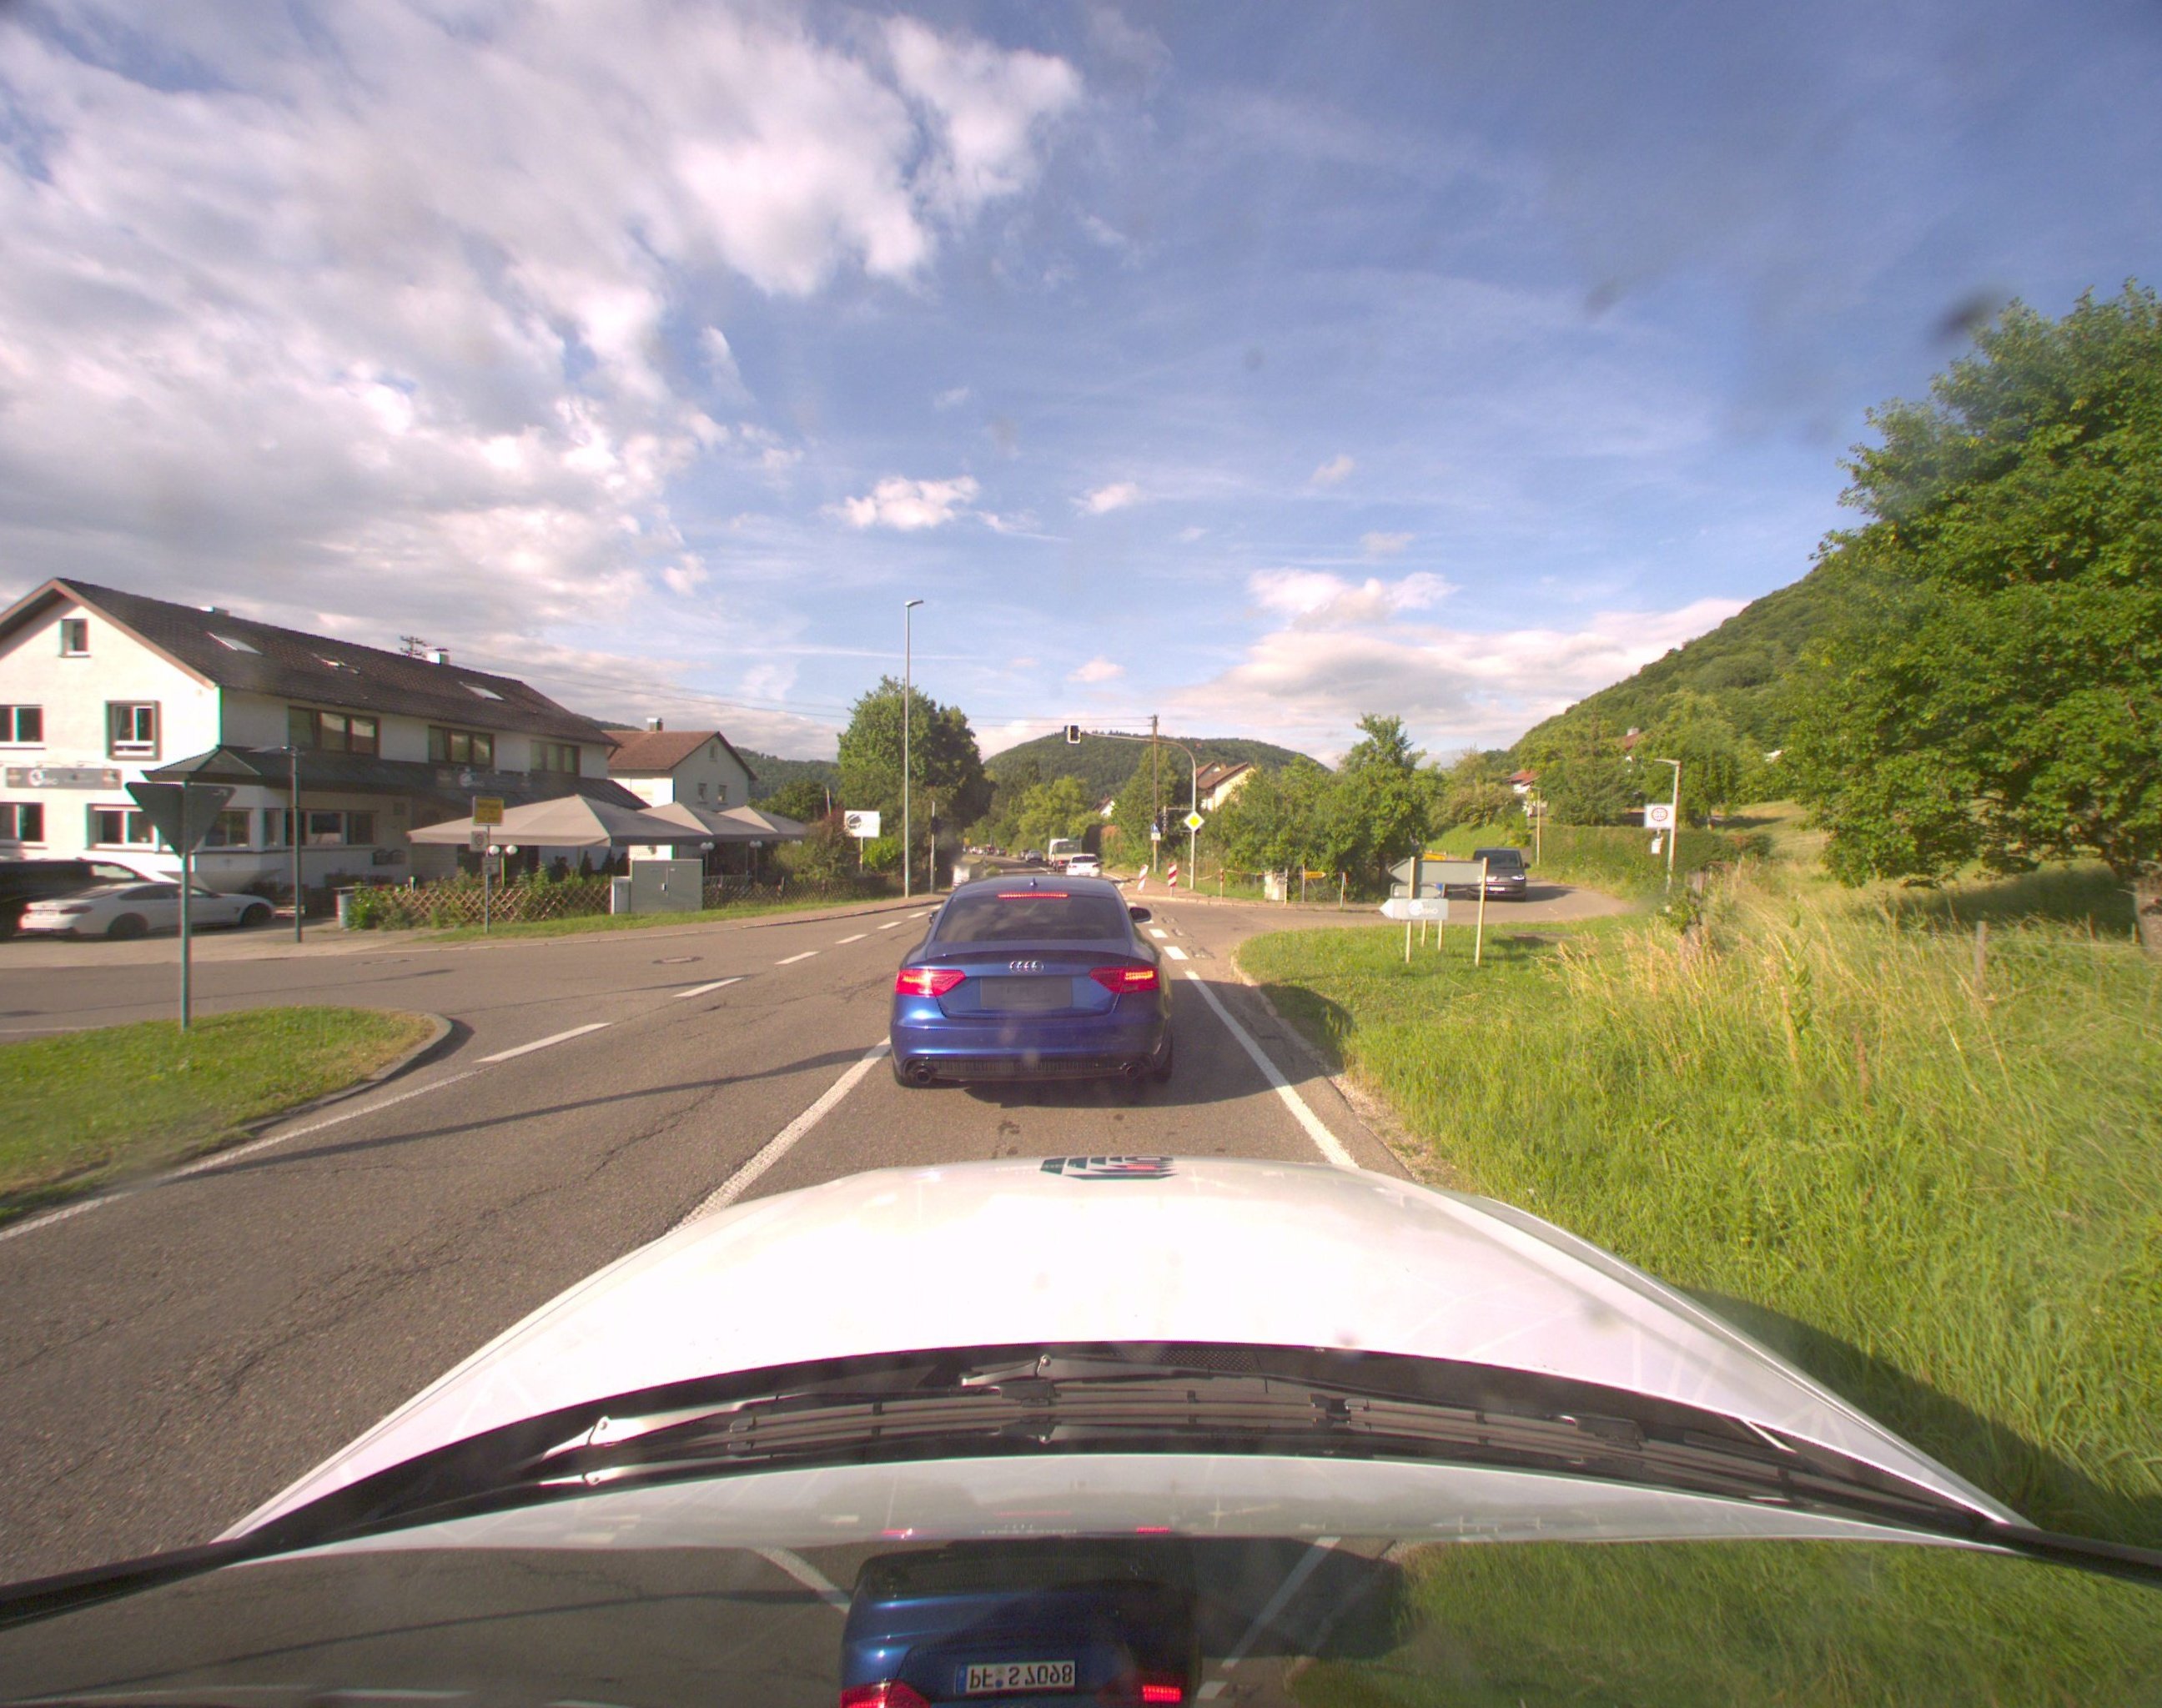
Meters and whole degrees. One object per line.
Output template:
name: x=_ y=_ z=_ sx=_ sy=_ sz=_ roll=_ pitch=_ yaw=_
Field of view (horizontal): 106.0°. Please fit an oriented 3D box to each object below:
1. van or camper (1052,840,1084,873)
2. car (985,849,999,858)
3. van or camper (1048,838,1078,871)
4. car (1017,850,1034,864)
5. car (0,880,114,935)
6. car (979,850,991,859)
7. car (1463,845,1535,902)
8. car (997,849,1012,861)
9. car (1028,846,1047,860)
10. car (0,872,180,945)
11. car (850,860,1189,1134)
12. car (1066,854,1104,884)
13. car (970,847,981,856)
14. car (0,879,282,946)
van or camper: x=-1.041 y=0.153 z=62.324 sx=2.176 sy=2.385 sz=5.362 roll=-1 pitch=0 yaw=-4
car: x=-16.293 y=-0.106 z=148.489 sx=2.043 sy=1.684 sz=3.982 roll=-1 pitch=1 yaw=-13
van or camper: x=-1.748 y=0.003 z=76.685 sx=2.410 sy=2.904 sz=6.122 roll=-1 pitch=0 yaw=-4
car: x=-7.554 y=0.436 z=110.675 sx=1.796 sy=1.794 sz=3.987 roll=-1 pitch=0 yaw=-9
car: x=-30.410 y=1.536 z=22.377 sx=1.984 sy=1.389 sz=4.582 roll=-2 pitch=0 yaw=5
car: x=-18.549 y=0.049 z=157.117 sx=1.944 sy=1.684 sz=3.982 roll=-2 pitch=0 yaw=-13
car: x=15.450 y=0.644 z=30.364 sx=1.976 sy=1.876 sz=4.897 roll=2 pitch=1 yaw=23
car: x=-12.994 y=0.113 z=138.370 sx=1.995 sy=2.013 sz=3.983 roll=-1 pitch=0 yaw=-12
car: x=-5.305 y=-0.148 z=98.975 sx=1.819 sy=1.552 sz=3.988 roll=-1 pitch=0 yaw=-9
car: x=-27.348 y=1.405 z=21.421 sx=1.984 sy=1.685 sz=4.582 roll=-2 pitch=0 yaw=5
car: x=-0.325 y=0.799 z=6.596 sx=1.824 sy=1.409 sz=4.226 roll=-2 pitch=0 yaw=0
car: x=0.210 y=0.710 z=41.111 sx=1.765 sy=1.415 sz=4.174 roll=1 pitch=0 yaw=0
car: x=-21.507 y=-0.436 z=165.920 sx=1.751 sy=1.783 sz=3.982 roll=-1 pitch=0 yaw=-13
car: x=-24.650 y=1.473 z=21.679 sx=1.984 sy=1.389 sz=4.582 roll=-2 pitch=0 yaw=5
